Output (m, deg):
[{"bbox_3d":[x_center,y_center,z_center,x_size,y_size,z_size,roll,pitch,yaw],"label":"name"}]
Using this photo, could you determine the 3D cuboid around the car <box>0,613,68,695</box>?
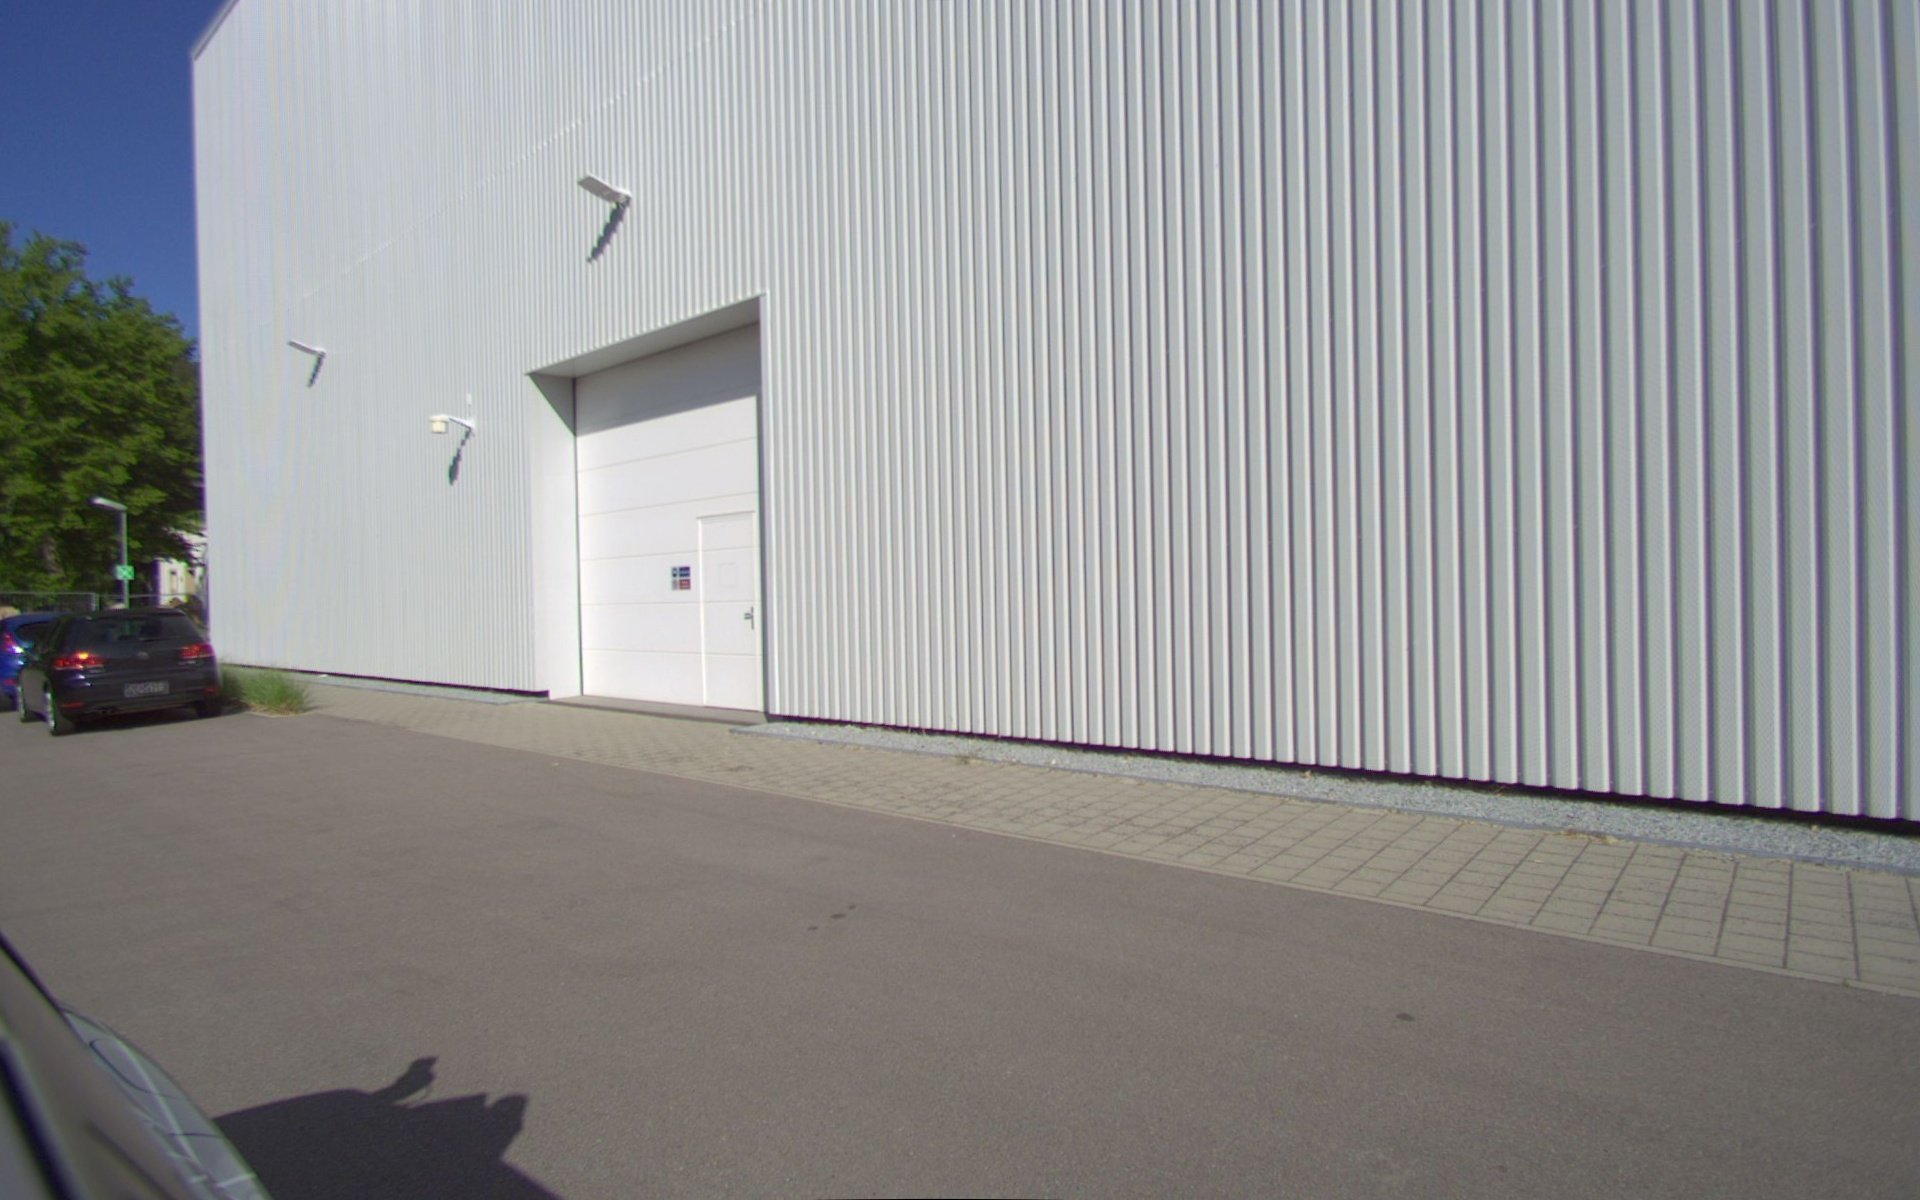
[{"bbox_3d":[-19.237,1.074,20.066,3.794,1.459,1.695,-2,1,39],"label":"car"}]

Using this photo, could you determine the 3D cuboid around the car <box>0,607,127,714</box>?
[{"bbox_3d":[-15.041,0.937,16.502,3.518,1.499,1.533,-2,1,39],"label":"car"}]

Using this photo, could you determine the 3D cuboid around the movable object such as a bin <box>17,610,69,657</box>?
[{"bbox_3d":[-30.311,1.108,33.464,1.279,1.489,1.126,-3,-3,41],"label":"movable object such as a bin"}]

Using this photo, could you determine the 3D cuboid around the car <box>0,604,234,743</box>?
[{"bbox_3d":[-11.368,0.887,13.502,4.312,1.456,1.738,-2,2,41],"label":"car"}]

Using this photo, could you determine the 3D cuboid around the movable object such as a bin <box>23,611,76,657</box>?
[{"bbox_3d":[-29.292,1.081,32.558,1.288,1.445,1.126,-2,-2,41],"label":"movable object such as a bin"}]
